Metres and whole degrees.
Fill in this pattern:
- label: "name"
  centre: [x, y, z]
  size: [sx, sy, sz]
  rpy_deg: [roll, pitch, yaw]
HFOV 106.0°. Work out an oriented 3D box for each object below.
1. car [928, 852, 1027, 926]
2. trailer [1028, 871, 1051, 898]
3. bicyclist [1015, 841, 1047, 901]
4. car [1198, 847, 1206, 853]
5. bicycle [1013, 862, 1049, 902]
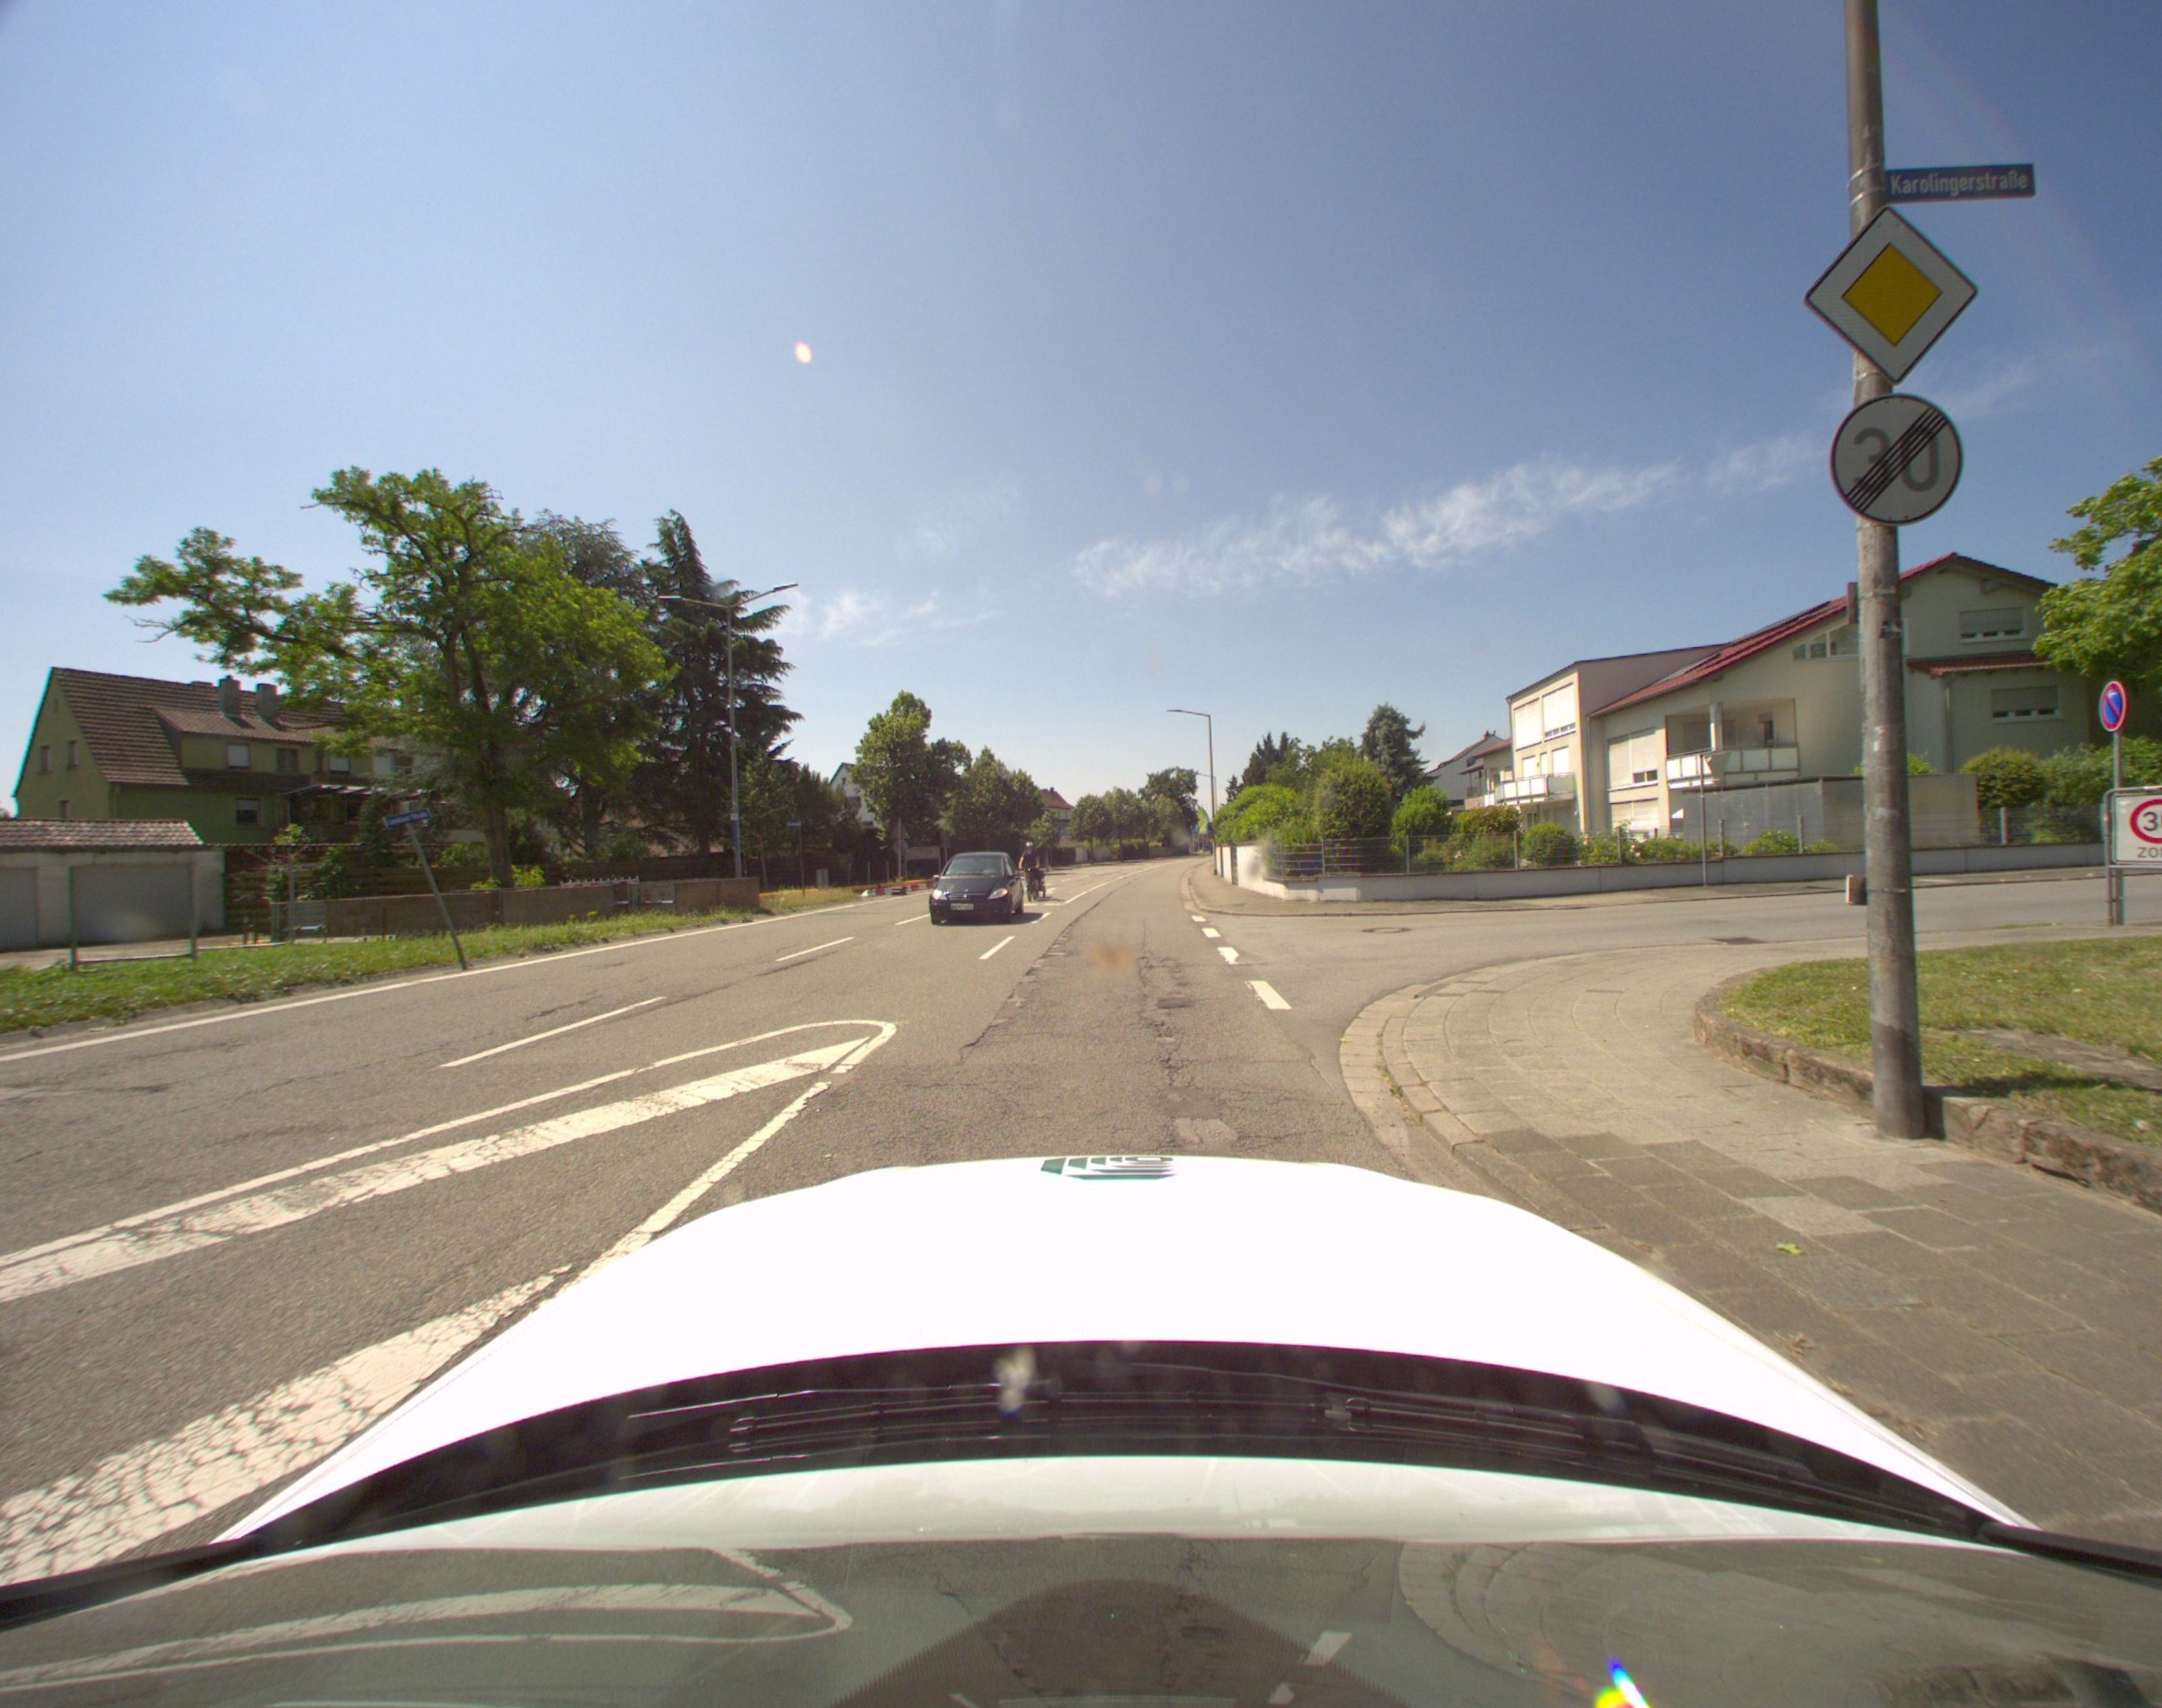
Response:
- label: "car"
  centre: [-2.312, 0.729, 19.094]
  size: [1.719, 1.532, 3.831]
  rpy_deg: [-1, 0, 2]
- label: "trailer"
  centre: [-1.395, 1.024, 27.579]
  size: [0.568, 0.856, 1.134]
  rpy_deg: [-3, 0, 5]
- label: "bicyclist"
  centre: [-1.579, 0.539, 25.970]
  size: [0.842, 1.865, 0.977]
  rpy_deg: [-2, 0, 4]
- label: "car"
  centre: [32.928, -1.172, 221.626]
  size: [1.604, 1.420, 3.728]
  rpy_deg: [-4, 0, 17]
- label: "bicycle"
  centre: [-1.567, 0.873, 26.020]
  size: [0.846, 1.166, 1.980]
  rpy_deg: [-2, 0, 5]
